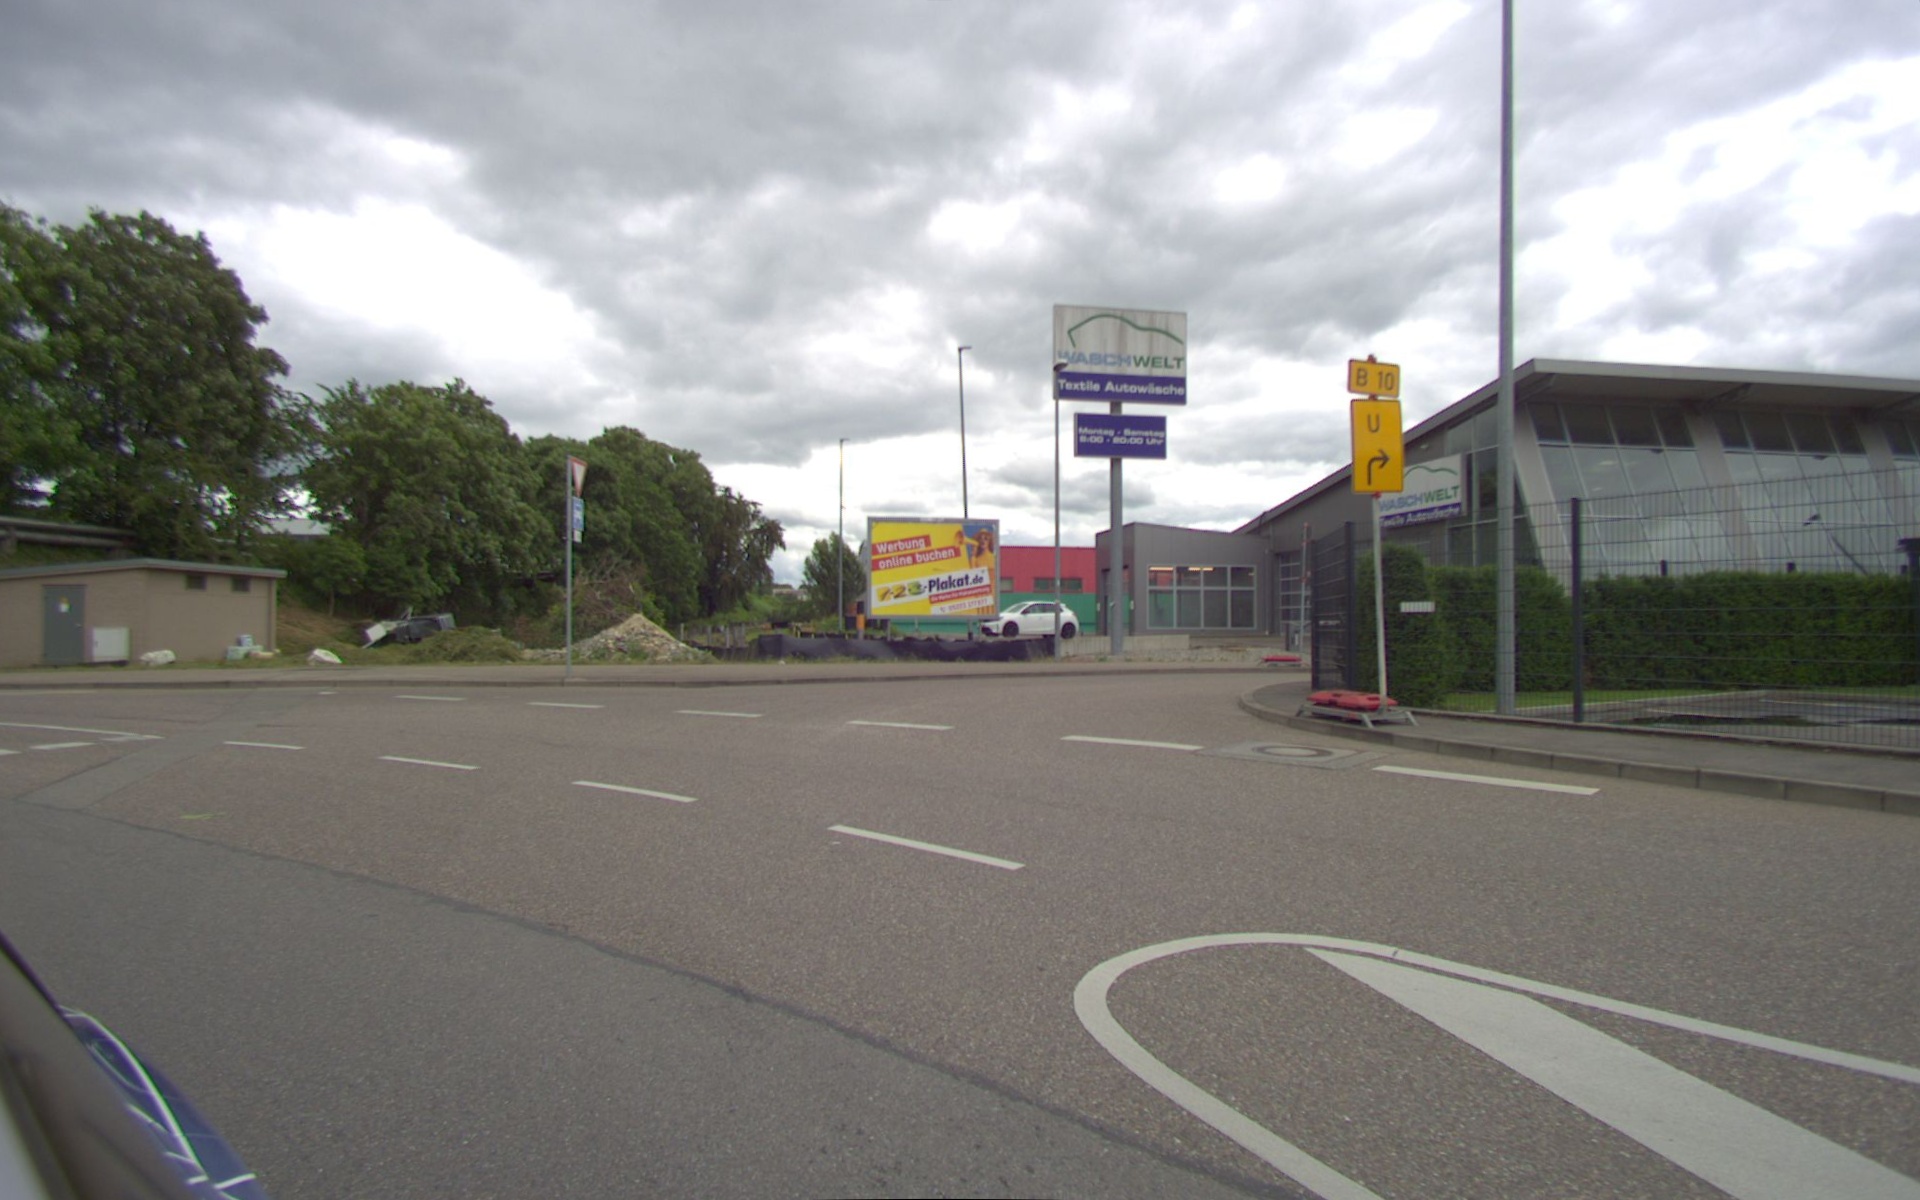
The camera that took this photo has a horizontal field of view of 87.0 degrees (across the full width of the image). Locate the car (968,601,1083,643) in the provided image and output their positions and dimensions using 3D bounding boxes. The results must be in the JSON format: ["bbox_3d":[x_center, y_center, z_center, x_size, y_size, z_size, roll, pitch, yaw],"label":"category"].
[{"bbox_3d":[2.504,0.828,38.946,3.930,1.547,2.006,0,-1,-24],"label":"car"}]
